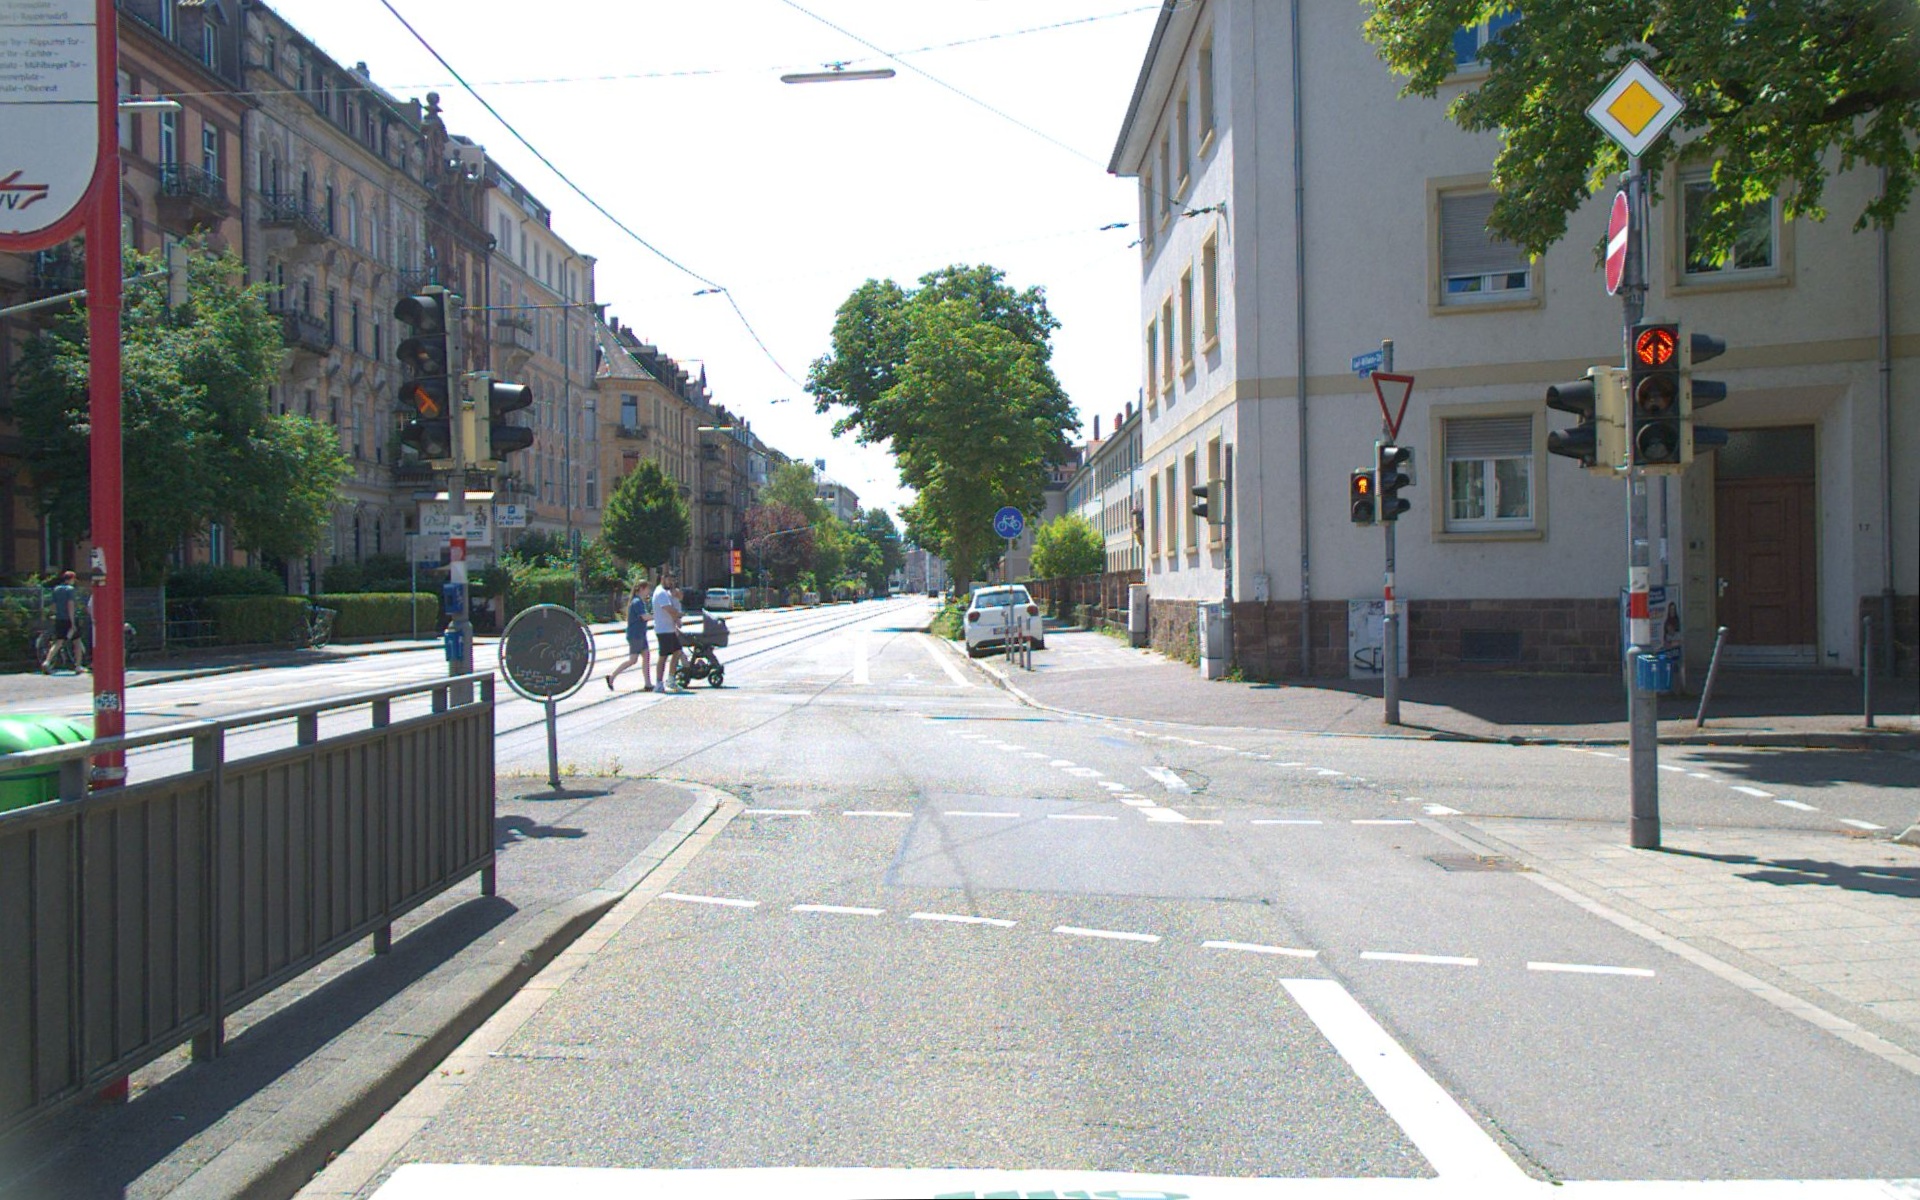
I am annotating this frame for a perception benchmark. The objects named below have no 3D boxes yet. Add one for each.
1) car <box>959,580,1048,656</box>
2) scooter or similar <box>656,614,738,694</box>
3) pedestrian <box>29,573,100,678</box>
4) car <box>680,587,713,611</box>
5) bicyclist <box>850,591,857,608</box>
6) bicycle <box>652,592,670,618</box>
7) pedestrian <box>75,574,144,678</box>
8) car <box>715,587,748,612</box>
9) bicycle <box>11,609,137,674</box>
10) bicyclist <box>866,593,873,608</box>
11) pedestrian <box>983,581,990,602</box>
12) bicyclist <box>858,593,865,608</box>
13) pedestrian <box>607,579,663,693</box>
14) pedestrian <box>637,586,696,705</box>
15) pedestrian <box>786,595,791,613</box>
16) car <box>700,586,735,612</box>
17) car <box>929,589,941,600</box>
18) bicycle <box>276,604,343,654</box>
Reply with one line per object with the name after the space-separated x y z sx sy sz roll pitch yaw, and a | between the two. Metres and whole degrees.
0.927 0.396 37.333 1.778 1.542 3.999 -3 0 -1 | car
-3.933 0.806 24.791 1.178 1.175 0.558 1 -1 -7 | scooter or similar
-16.214 0.456 29.966 0.799 1.854 0.873 1 1 -2 | pedestrian
-19.675 -0.079 123.601 1.880 1.745 3.999 1 0 -1 | car
-11.987 -0.047 186.325 0.712 1.799 1.079 1 0 1 | bicyclist
-15.276 0.242 84.429 0.664 1.301 1.917 -1 0 -4 | bicycle
-15.459 0.463 30.069 0.799 1.854 0.873 1 1 -2 | pedestrian
-17.043 -0.034 123.567 1.880 1.745 3.999 1 0 -1 | car
-16.714 0.758 31.298 0.918 1.156 2.773 1 0 -2 | bicycle
-11.190 0.036 204.623 0.712 1.850 1.079 1 0 1 | bicyclist
1.992 -0.648 125.001 0.511 1.590 0.573 -1 0 -1 | pedestrian
-12.164 0.051 204.683 0.712 1.850 1.079 1 0 1 | bicyclist
-4.850 0.535 24.694 0.660 1.674 0.559 1 -1 7 | pedestrian
-4.205 0.642 23.715 0.660 1.674 0.559 1 -1 7 | pedestrian
-14.389 0.312 138.624 0.398 1.486 0.436 -1 0 -1 | pedestrian
-16.875 -0.065 115.306 1.880 1.745 3.999 1 0 -1 | car
-3.942 -0.835 258.762 1.788 1.545 3.999 1 0 -1 | car
-15.898 0.697 40.506 0.920 1.156 2.767 1 0 -9 | bicycle
